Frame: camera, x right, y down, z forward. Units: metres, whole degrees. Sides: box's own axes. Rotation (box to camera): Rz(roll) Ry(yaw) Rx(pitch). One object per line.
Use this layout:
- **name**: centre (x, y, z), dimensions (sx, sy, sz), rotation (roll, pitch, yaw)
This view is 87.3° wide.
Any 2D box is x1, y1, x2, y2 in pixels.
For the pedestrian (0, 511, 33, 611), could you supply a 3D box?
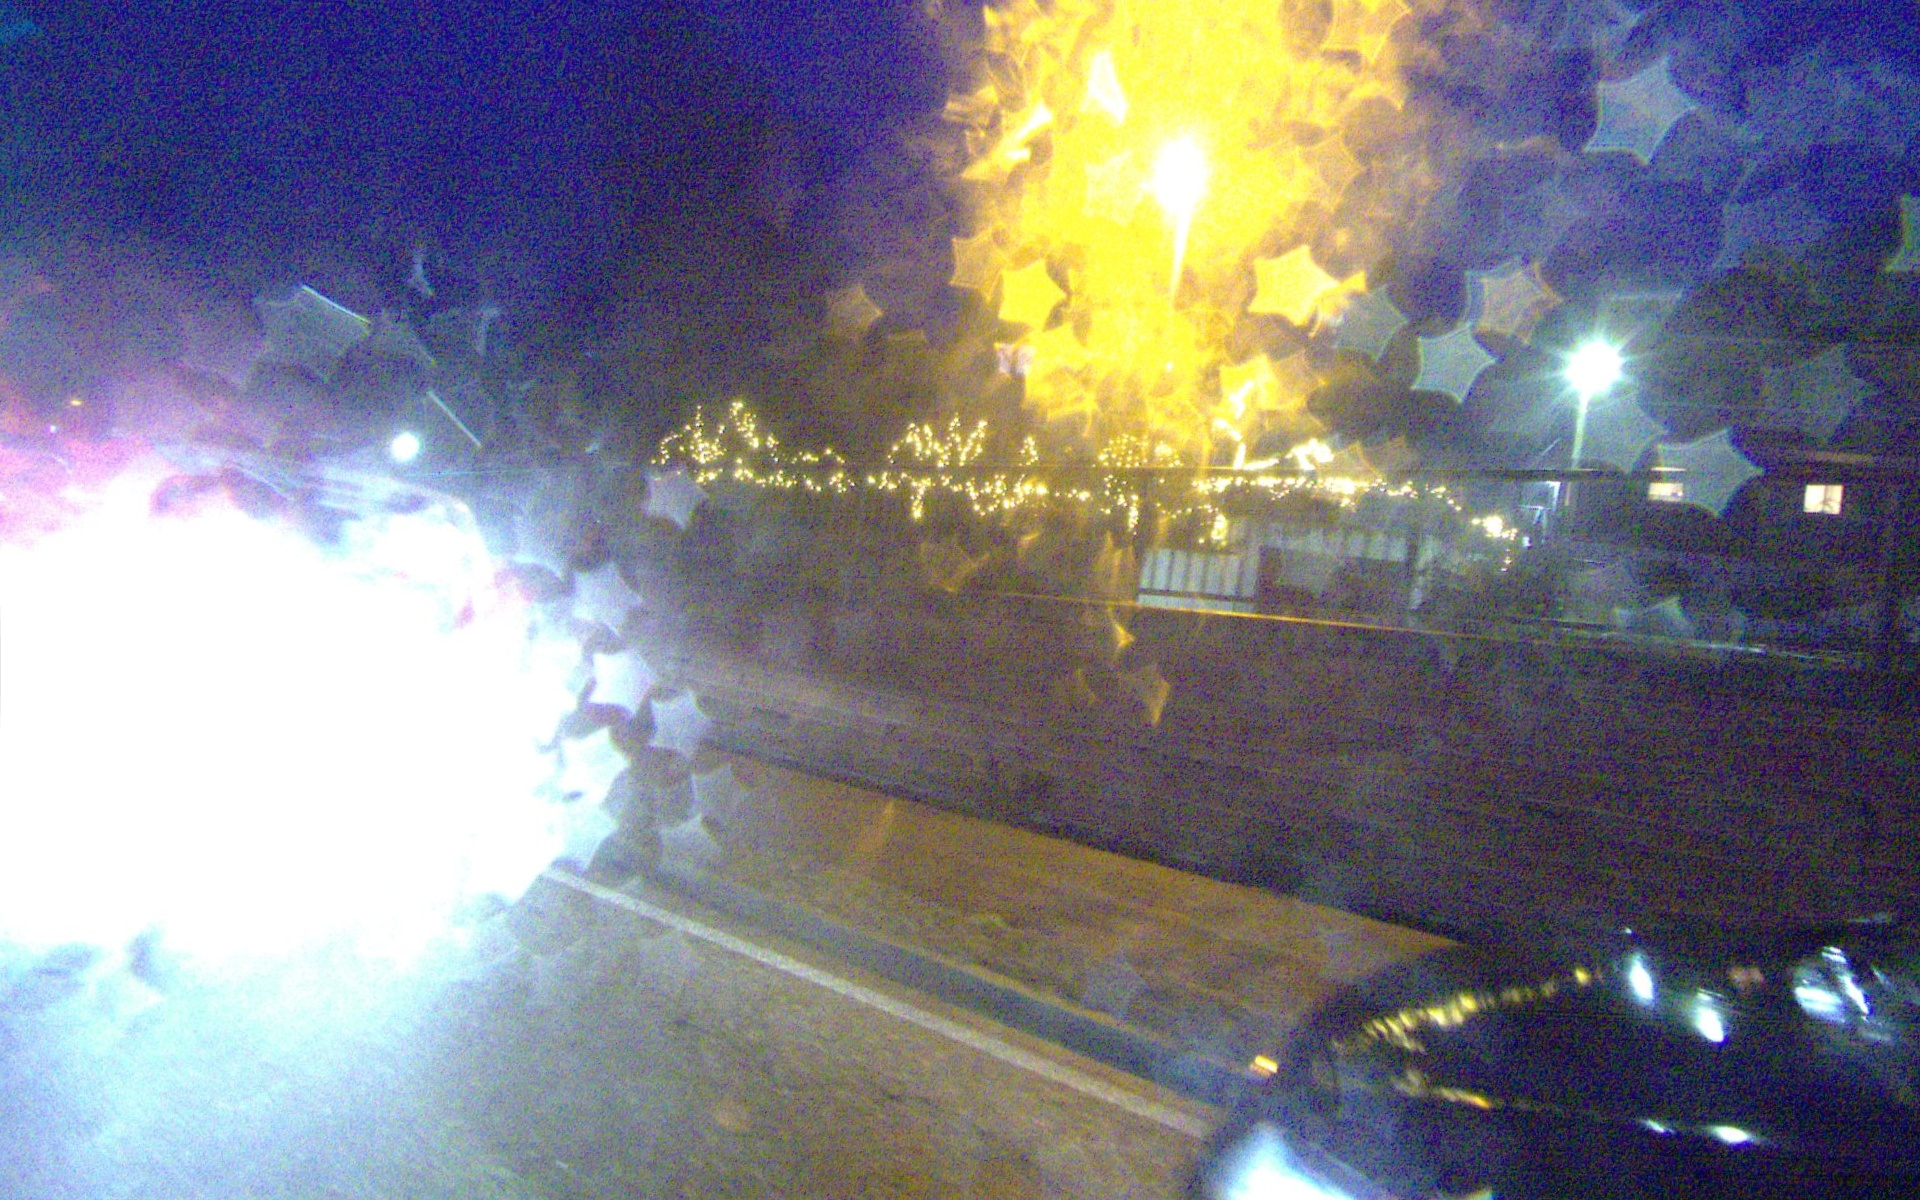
- **pedestrian**: centre (-16.948, -0.711, 17.720), dimensions (0.532, 1.721, 0.624), rotation (6, -1, 29)

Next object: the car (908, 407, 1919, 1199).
- **car**: centre (2.458, 0.939, 0.773), dimensions (4.861, 1.755, 1.838), rotation (6, -2, 33)

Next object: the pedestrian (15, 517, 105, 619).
- **pedestrian**: centre (-16.402, -0.558, 18.359), dimensions (0.608, 1.721, 0.868), rotation (7, -1, 6)

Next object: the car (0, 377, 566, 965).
- **car**: centre (-4.271, 0.128, 5.125), dimensions (4.269, 1.886, 1.855), rotation (6, -2, 32)

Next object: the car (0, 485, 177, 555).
- **car**: centre (-27.868, -2.496, 31.998), dimensions (4.296, 1.476, 1.838), rotation (9, -2, -30)
